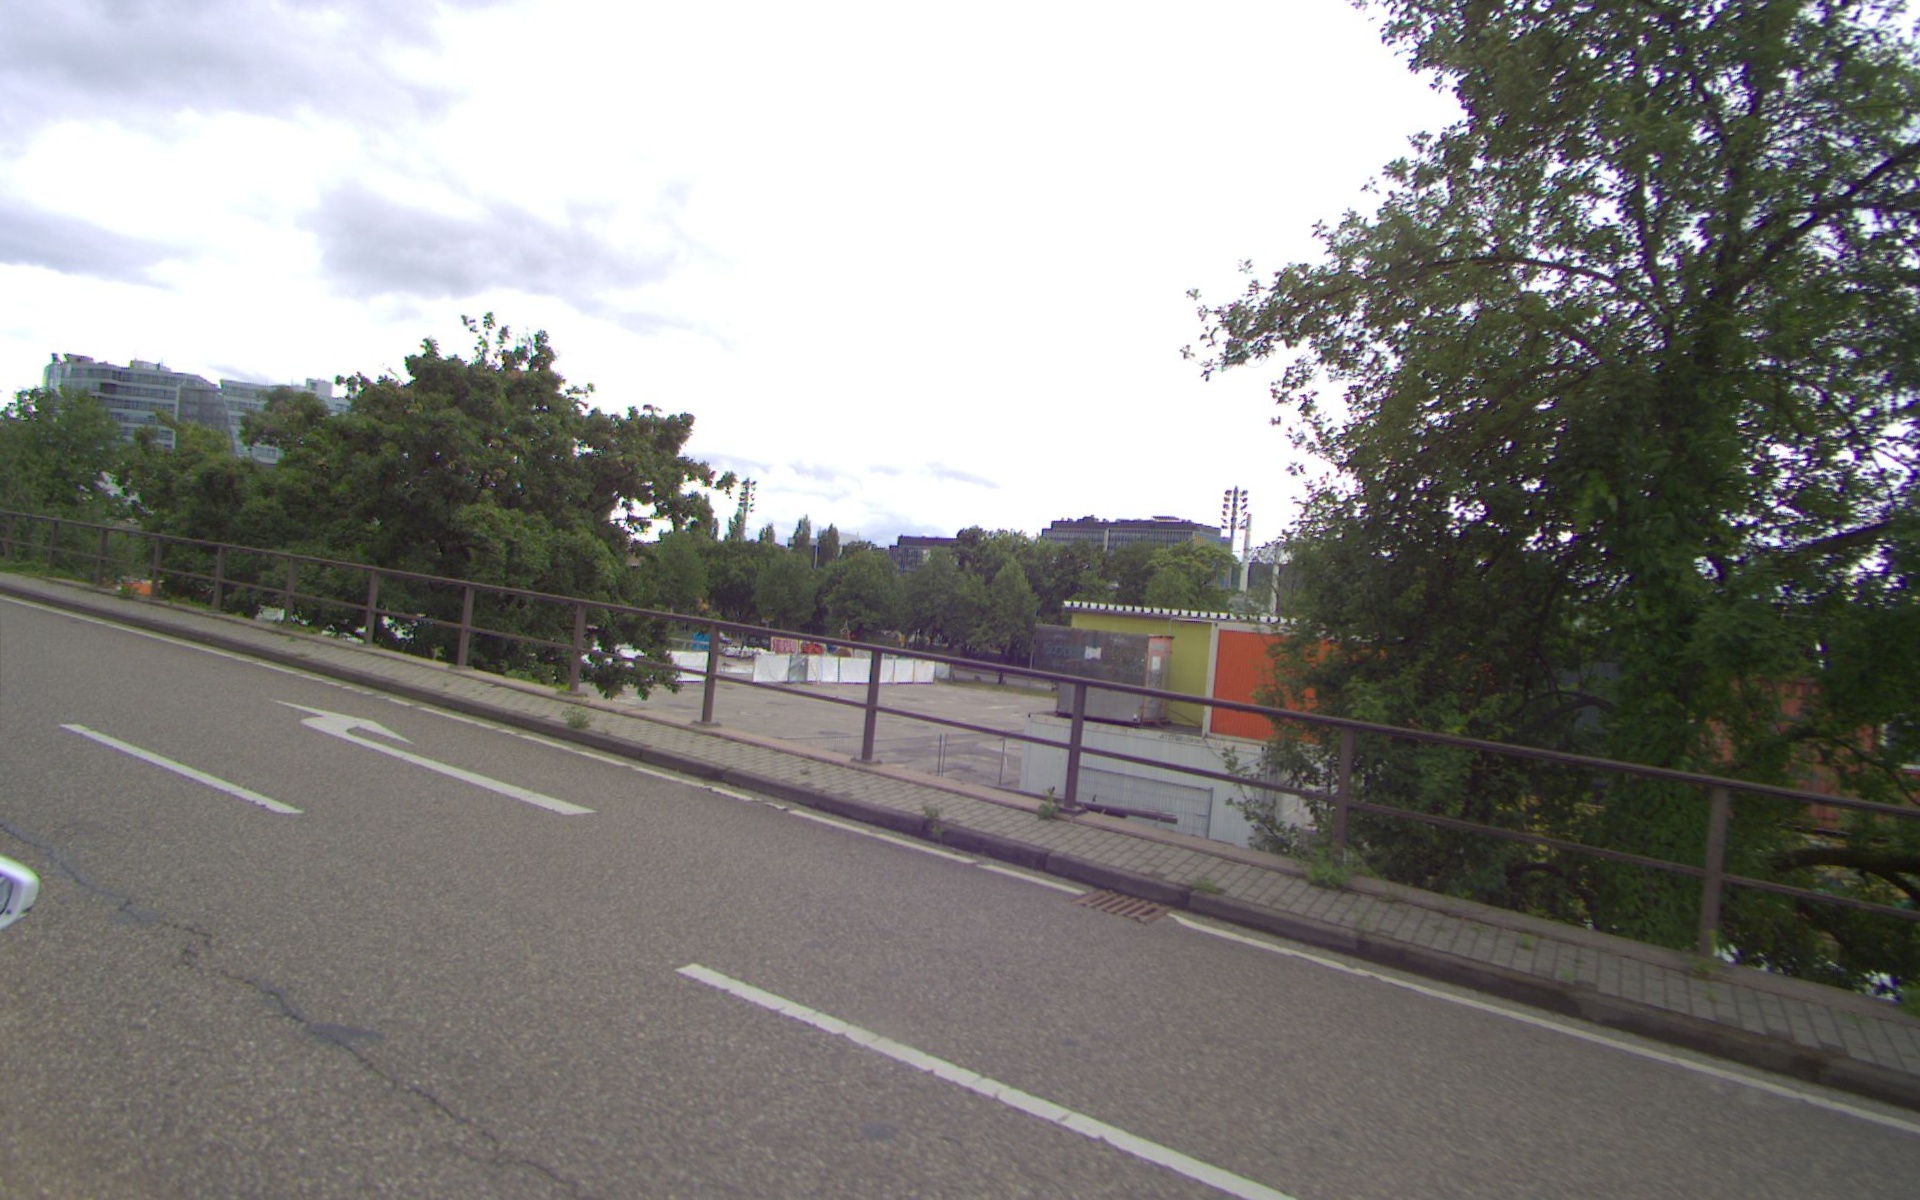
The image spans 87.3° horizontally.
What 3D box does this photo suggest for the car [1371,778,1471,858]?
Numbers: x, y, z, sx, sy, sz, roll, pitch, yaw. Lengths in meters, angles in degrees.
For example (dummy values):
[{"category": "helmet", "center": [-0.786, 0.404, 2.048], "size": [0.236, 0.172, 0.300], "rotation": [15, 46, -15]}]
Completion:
[{"category": "car", "center": [13.946, 6.484, 30.321], "size": [1.968, 1.552, 3.988], "rotation": [6, 0, 34]}]
